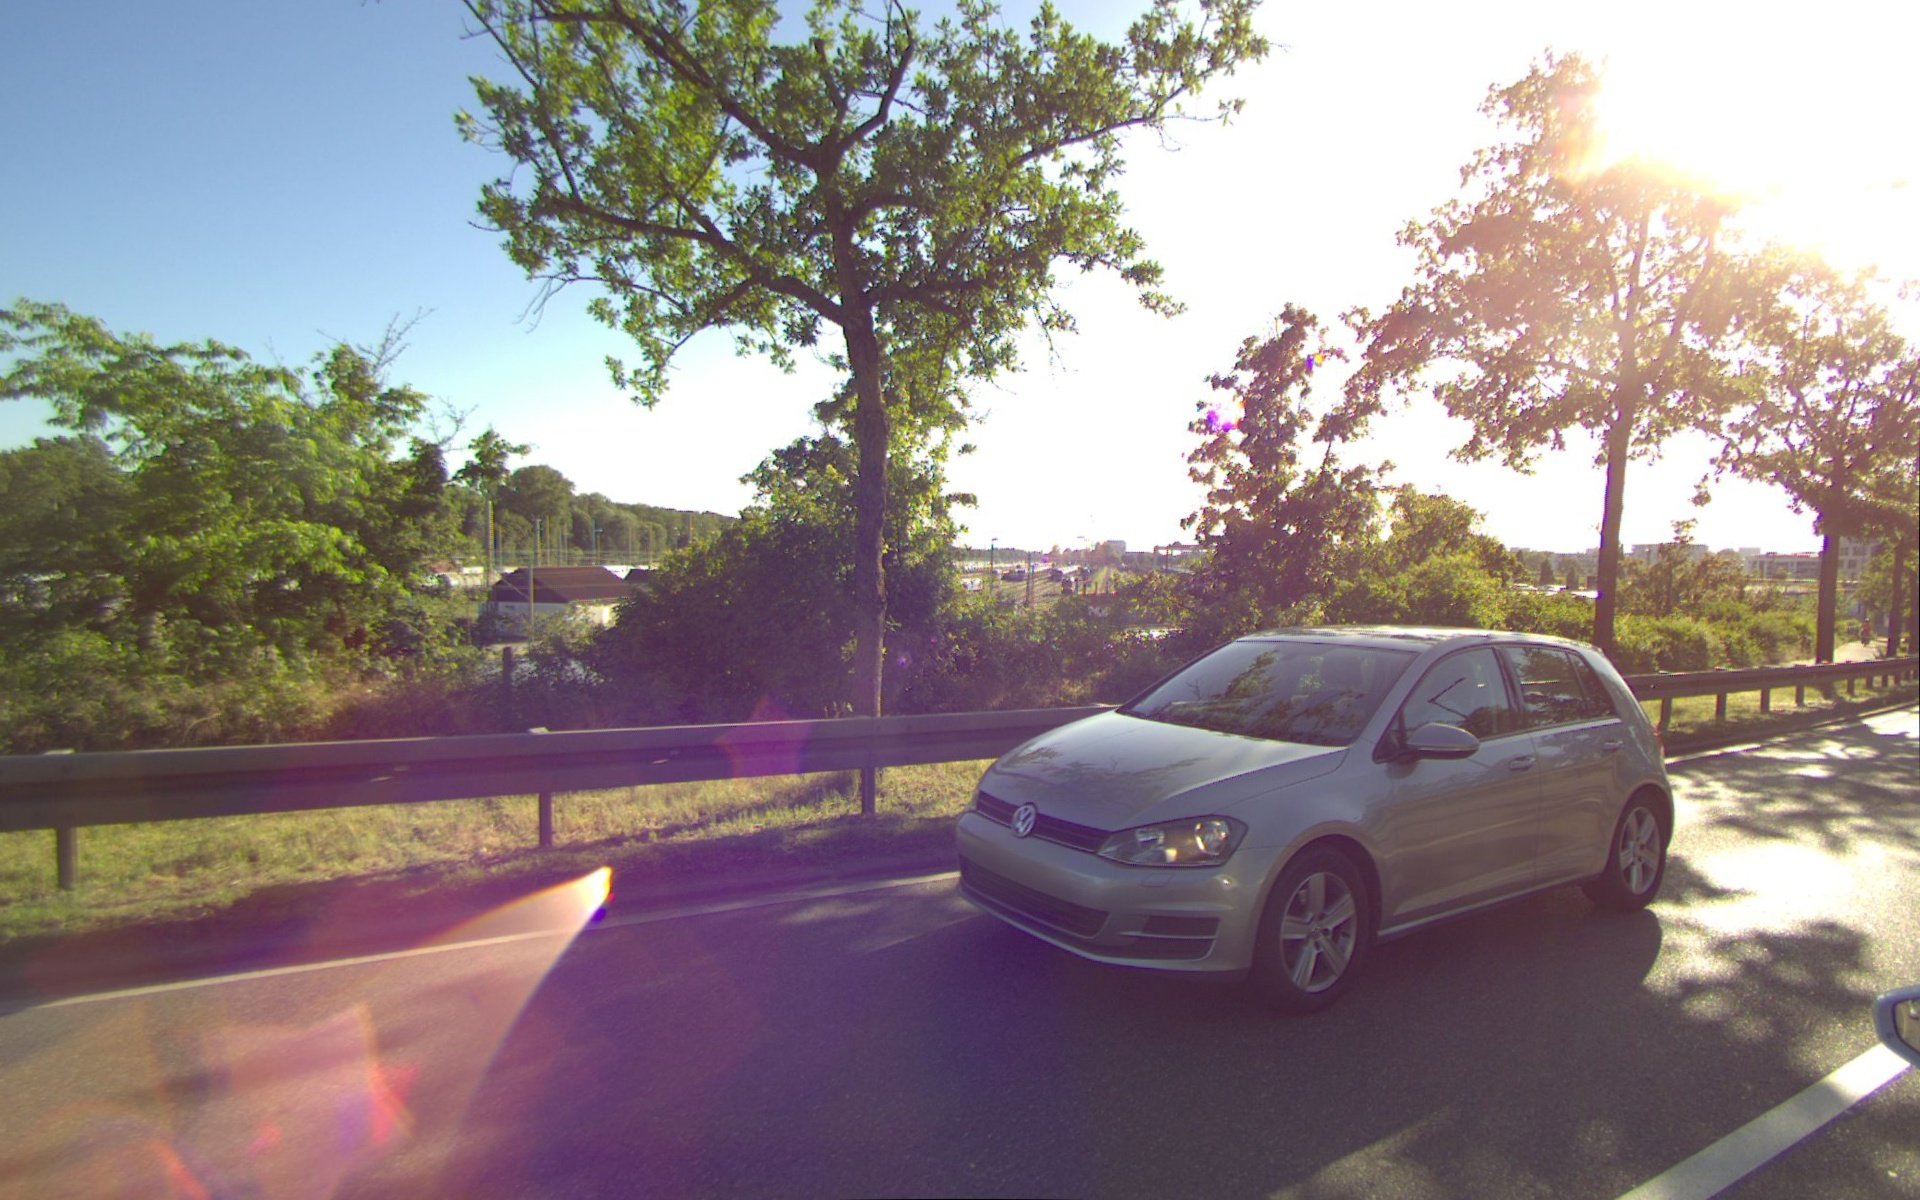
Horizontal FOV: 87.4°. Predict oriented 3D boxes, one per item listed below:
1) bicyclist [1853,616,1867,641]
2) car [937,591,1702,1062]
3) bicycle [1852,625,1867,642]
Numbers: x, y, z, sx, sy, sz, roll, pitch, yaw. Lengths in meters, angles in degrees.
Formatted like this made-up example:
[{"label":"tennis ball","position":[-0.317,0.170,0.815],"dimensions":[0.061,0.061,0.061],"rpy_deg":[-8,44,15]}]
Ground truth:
[{"label":"bicyclist","position":[59.389,1.870,66.276],"dimensions":[0.644,1.645,0.869],"rpy_deg":[2,1,43]},{"label":"car","position":[1.990,0.791,5.107],"dimensions":[3.940,1.538,1.684],"rpy_deg":[2,-1,-35]},{"label":"bicycle","position":[59.355,2.217,66.245],"dimensions":[0.653,1.110,2.096],"rpy_deg":[2,1,43]}]
